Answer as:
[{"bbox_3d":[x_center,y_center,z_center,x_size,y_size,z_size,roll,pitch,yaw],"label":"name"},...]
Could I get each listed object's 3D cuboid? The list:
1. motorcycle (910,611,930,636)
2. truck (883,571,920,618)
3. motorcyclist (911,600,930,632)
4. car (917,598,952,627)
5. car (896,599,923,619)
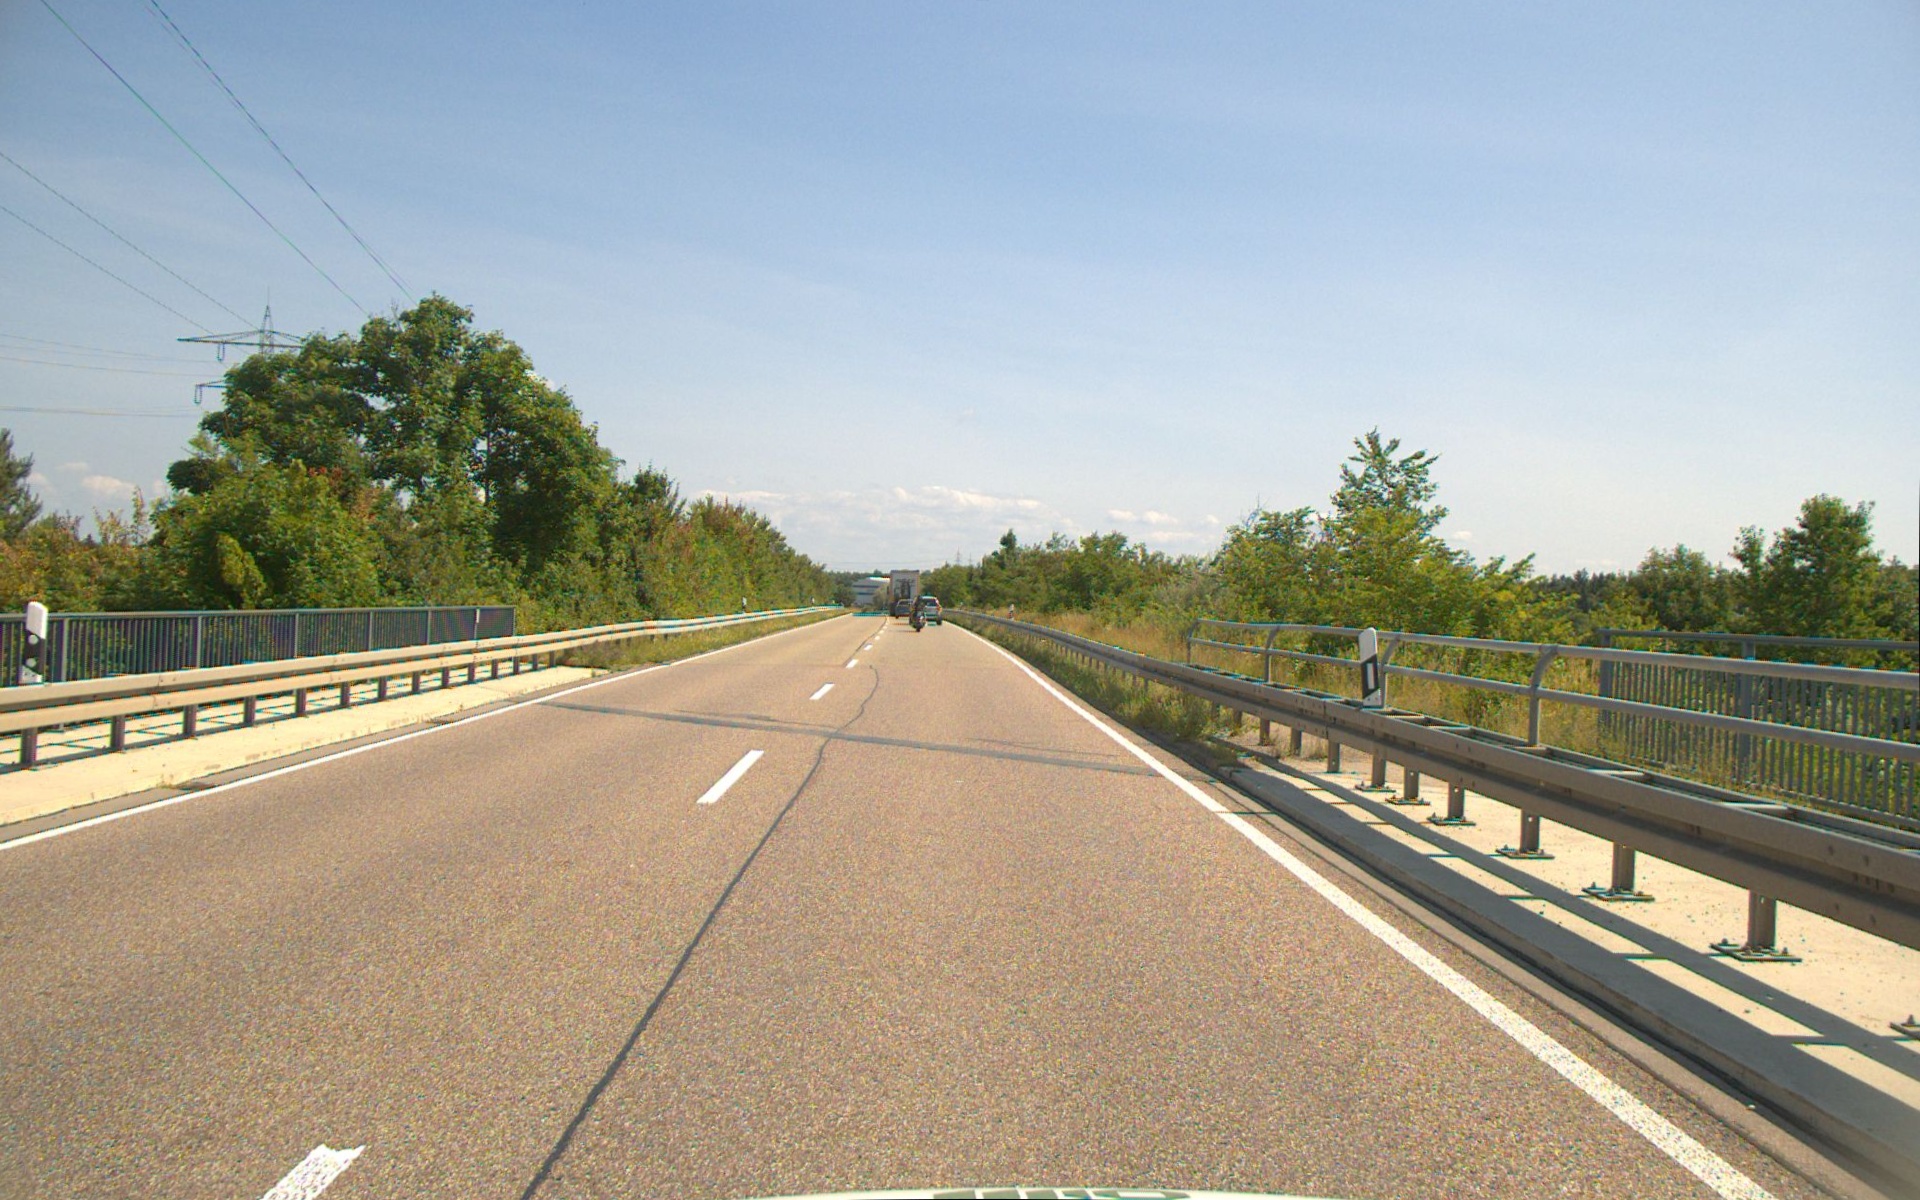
[{"bbox_3d":[-1.740,1.020,72.525,0.764,0.992,2.362,1,1,1],"label":"motorcycle"},{"bbox_3d":[-5.416,-0.511,151.836,3.177,4.048,9.438,1,0,-3],"label":"truck"},{"bbox_3d":[-1.724,0.688,72.542,0.764,1.348,0.813,1,1,1],"label":"motorcyclist"},{"bbox_3d":[-1.469,0.686,93.271,1.789,1.476,3.998,1,1,-3],"label":"car"},{"bbox_3d":[-3.784,0.662,124.853,1.827,1.445,4.000,1,1,0],"label":"car"}]
